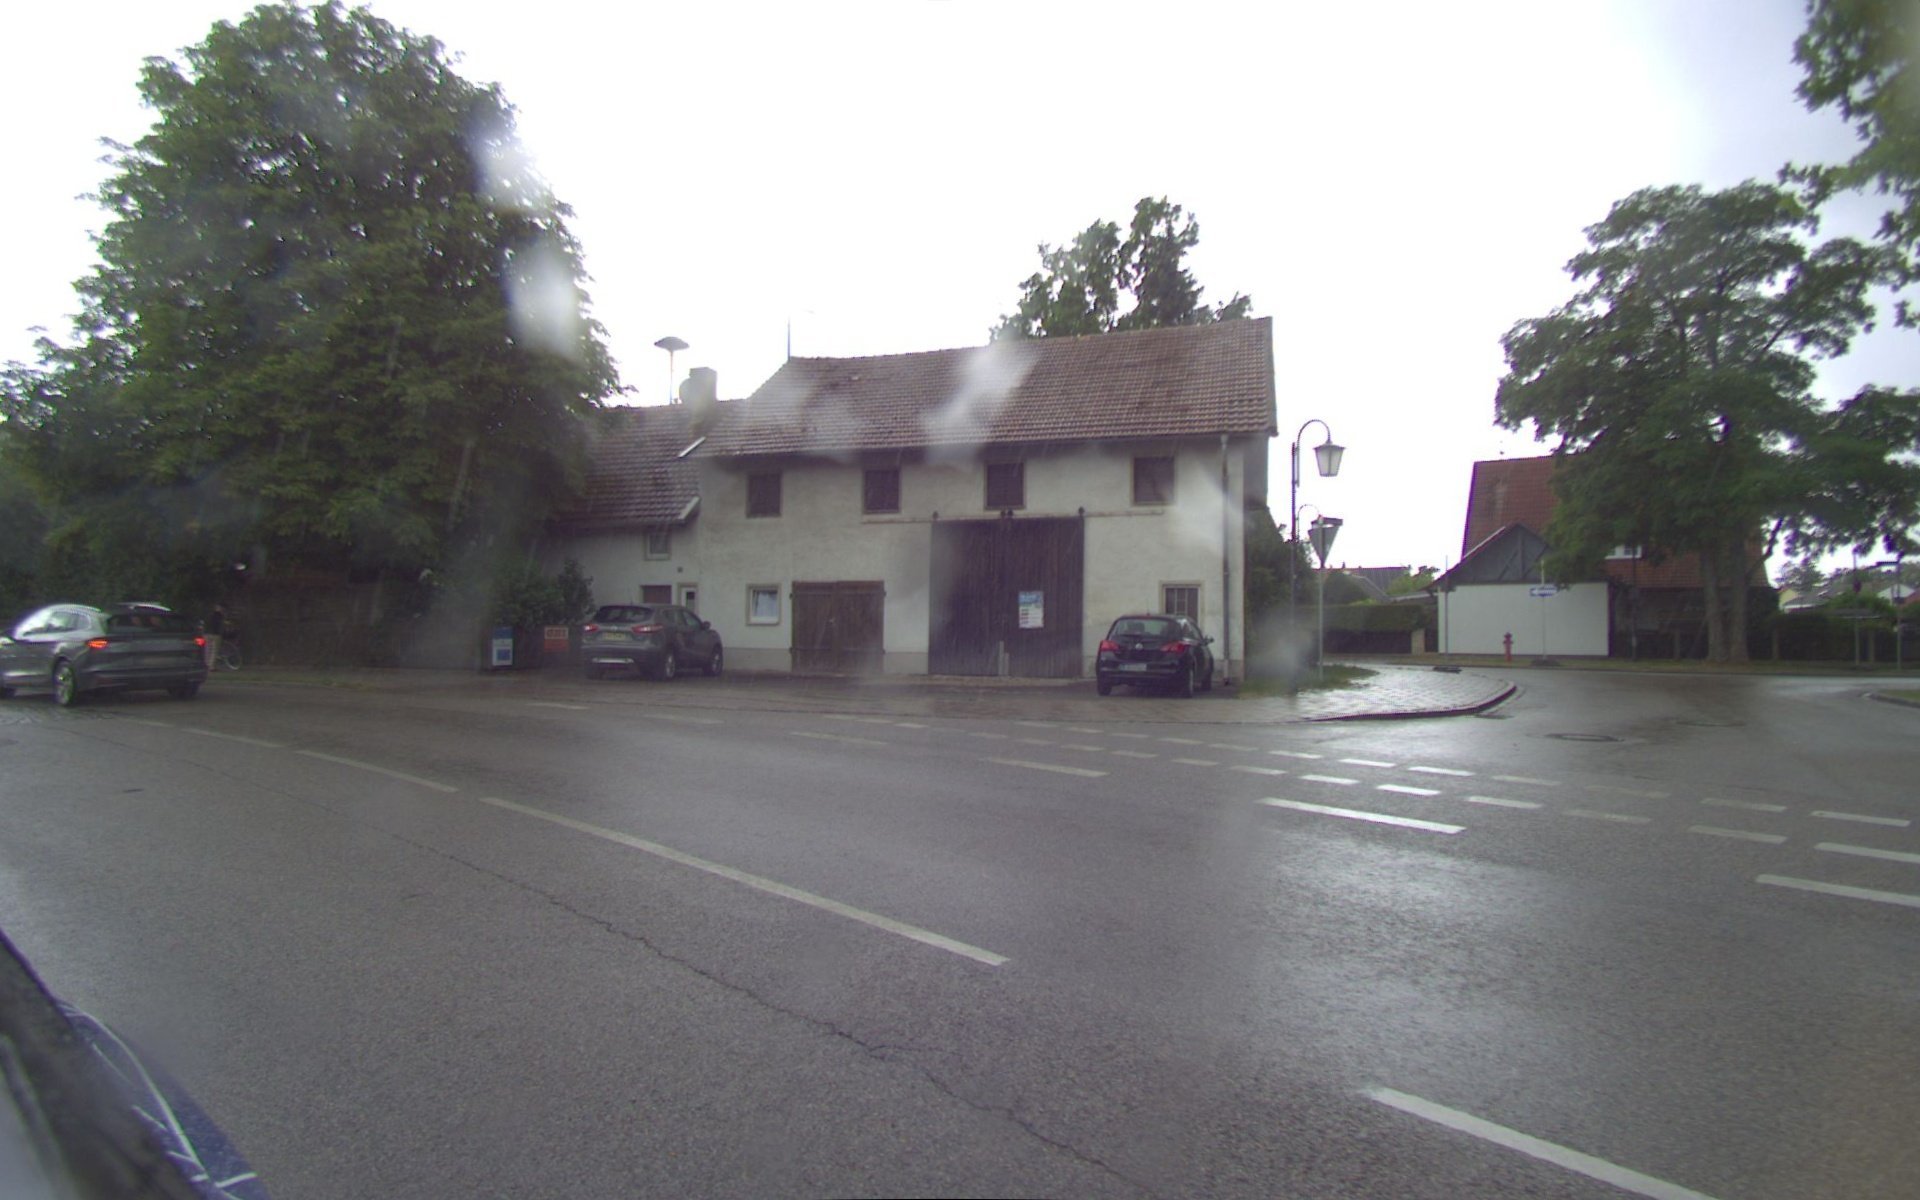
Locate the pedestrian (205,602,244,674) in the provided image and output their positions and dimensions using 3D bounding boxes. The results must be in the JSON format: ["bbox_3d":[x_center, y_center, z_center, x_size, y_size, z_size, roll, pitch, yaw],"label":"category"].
[{"bbox_3d":[-16.961,0.866,23.344,0.642,1.640,0.480,0,-1,-26],"label":"pedestrian"}]

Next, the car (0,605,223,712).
[{"bbox_3d":[-14.721,0.922,17.205,4.173,1.607,1.981,-1,-1,29],"label":"car"}]

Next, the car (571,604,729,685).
[{"bbox_3d":[-6.529,0.969,21.826,1.795,1.560,4.274,0,-3,5],"label":"car"}]

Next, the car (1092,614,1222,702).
[{"bbox_3d":[3.774,0.990,18.851,1.807,1.447,4.253,0,-1,19],"label":"car"}]

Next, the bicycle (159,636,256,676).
[{"bbox_3d":[-17.891,1.320,24.084,1.849,0.909,0.663,0,-1,3],"label":"bicycle"}]
